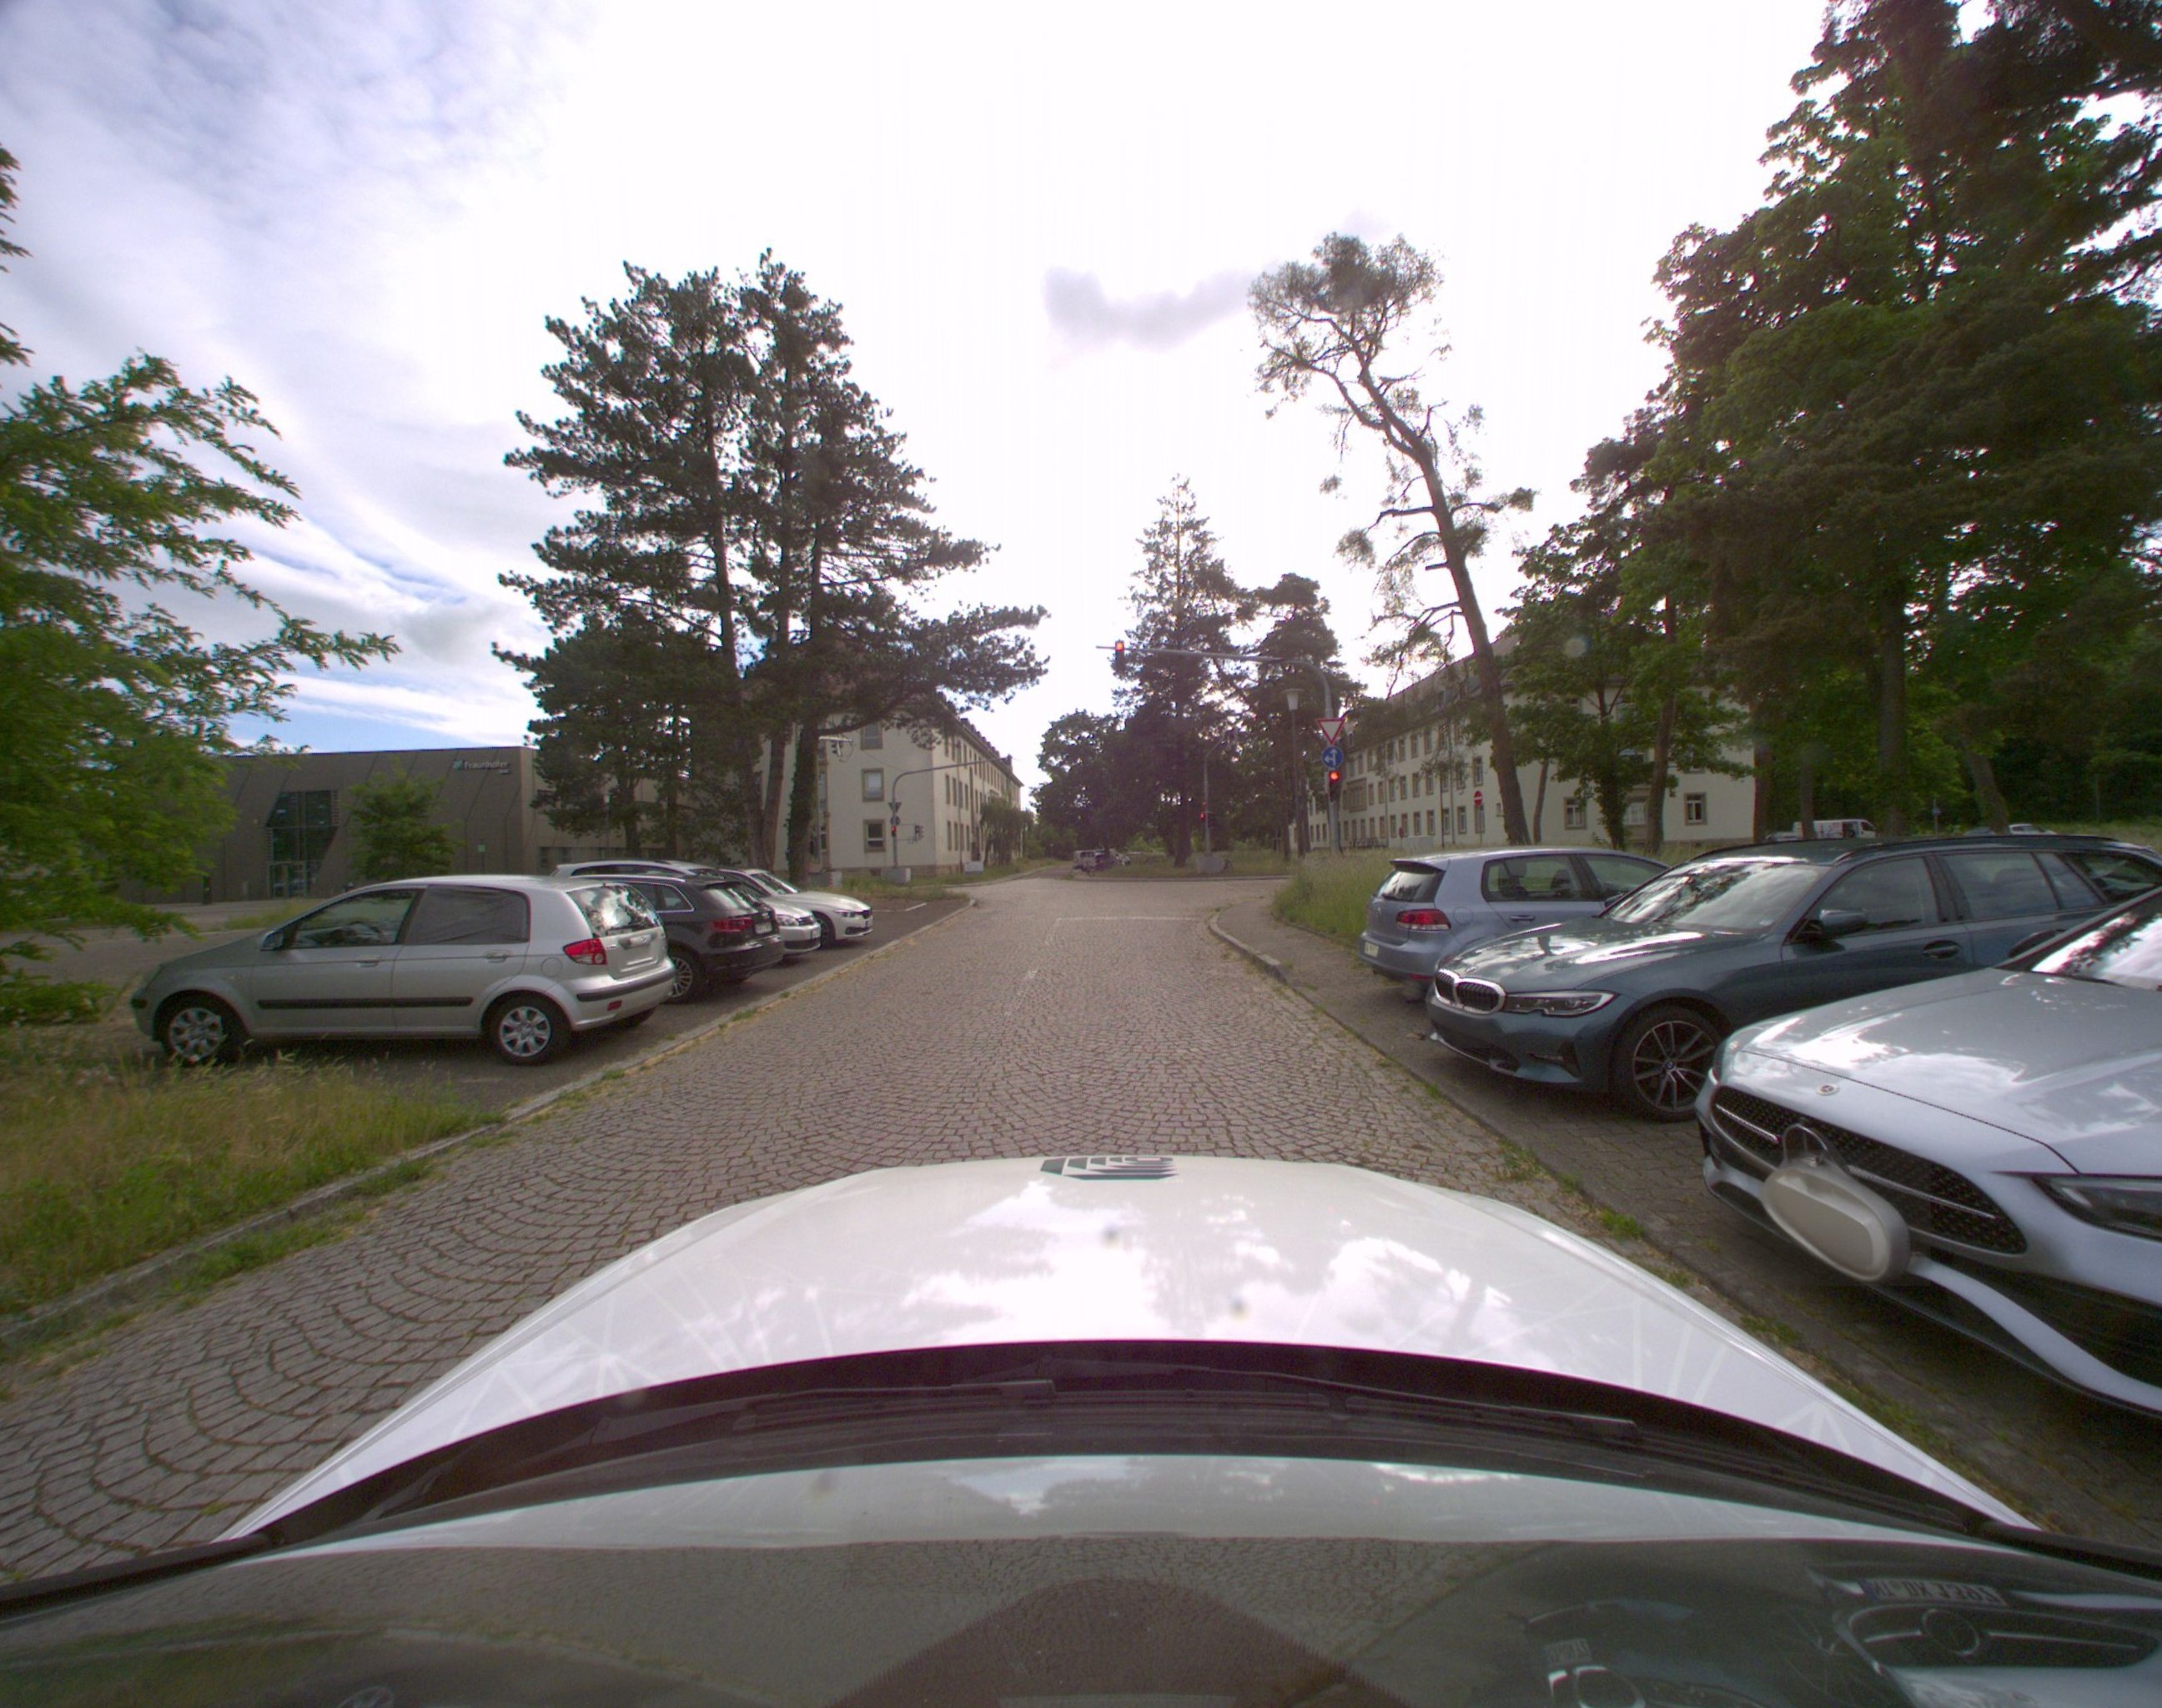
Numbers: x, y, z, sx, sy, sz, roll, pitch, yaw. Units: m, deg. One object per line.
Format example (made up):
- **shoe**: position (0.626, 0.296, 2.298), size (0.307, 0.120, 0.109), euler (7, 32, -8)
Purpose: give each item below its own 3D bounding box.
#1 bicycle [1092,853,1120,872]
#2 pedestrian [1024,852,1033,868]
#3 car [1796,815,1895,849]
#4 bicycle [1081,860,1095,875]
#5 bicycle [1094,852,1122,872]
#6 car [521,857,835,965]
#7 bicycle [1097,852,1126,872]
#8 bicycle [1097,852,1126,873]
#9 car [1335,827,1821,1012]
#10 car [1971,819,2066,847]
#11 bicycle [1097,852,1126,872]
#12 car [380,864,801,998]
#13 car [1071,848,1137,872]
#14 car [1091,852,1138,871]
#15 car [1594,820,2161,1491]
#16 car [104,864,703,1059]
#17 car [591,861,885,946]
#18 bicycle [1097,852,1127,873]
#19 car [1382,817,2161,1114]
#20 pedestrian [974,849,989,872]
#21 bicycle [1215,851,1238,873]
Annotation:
- **bicycle**: position (1.888, 0.615, 61.555), size (2.062, 1.378, 0.620), euler (-2, 0, 1)
- **pedestrian**: position (-6.772, 0.752, 104.619), size (0.952, 2.013, 0.797), euler (-2, 0, 11)
- **car**: position (57.179, -1.606, 60.985), size (5.160, 2.288, 2.214), euler (-2, 0, 2)
- **bicycle**: position (0.484, 0.908, 55.395), size (0.614, 0.963, 2.081), euler (-2, 0, 8)
- **bicycle**: position (1.995, 0.602, 60.068), size (2.062, 1.378, 0.620), euler (-2, 0, 1)
- **car**: position (-6.071, 0.837, 12.663), size (3.979, 1.547, 1.722), euler (0, 0, -4)
- **bicycle**: position (2.180, 0.590, 58.470), size (2.062, 1.378, 0.620), euler (-2, 0, 1)
- **bicycle**: position (2.171, 0.585, 57.845), size (2.062, 1.378, 0.620), euler (-2, 0, 1)
- **car**: position (4.634, 0.574, 7.983), size (3.751, 1.426, 1.606), euler (-3, 0, 0)
- **car**: position (57.713, -1.272, 50.184), size (3.468, 1.507, 2.001), euler (-2, 0, 2)
- **bicycle**: position (2.204, 0.597, 59.266), size (2.062, 1.378, 0.620), euler (-2, 0, 1)
- **car**: position (-5.685, 0.860, 9.827), size (3.974, 1.427, 1.750), euler (1, 0, 0)
- **car**: position (2.098, 0.542, 75.071), size (5.695, 1.910, 2.221), euler (-2, 0, -12)
- **car**: position (2.925, 0.655, 71.689), size (3.924, 1.544, 1.997), euler (-2, 0, -4)
- **car**: position (4.665, 0.598, 2.710), size (4.740, 1.482, 1.813), euler (-2, 0, 1)
- **car**: position (-5.624, 0.847, 7.219), size (3.670, 1.452, 1.806), euler (1, 0, -4)
- **car**: position (-6.159, 0.876, 15.064), size (4.636, 1.443, 1.800), euler (0, 0, -3)
- **bicycle**: position (2.201, 0.580, 57.174), size (2.062, 1.378, 0.620), euler (-2, 0, 1)
- **car**: position (4.705, 0.586, 5.420), size (4.745, 1.482, 1.760), euler (-2, 0, -3)
- **pedestrian**: position (-8.867, 0.571, 72.812), size (1.081, 2.013, 1.023), euler (-2, 0, 6)
- **bicycle**: position (8.016, 0.427, 44.831), size (0.905, 1.177, 1.874), euler (-2, 0, 0)
